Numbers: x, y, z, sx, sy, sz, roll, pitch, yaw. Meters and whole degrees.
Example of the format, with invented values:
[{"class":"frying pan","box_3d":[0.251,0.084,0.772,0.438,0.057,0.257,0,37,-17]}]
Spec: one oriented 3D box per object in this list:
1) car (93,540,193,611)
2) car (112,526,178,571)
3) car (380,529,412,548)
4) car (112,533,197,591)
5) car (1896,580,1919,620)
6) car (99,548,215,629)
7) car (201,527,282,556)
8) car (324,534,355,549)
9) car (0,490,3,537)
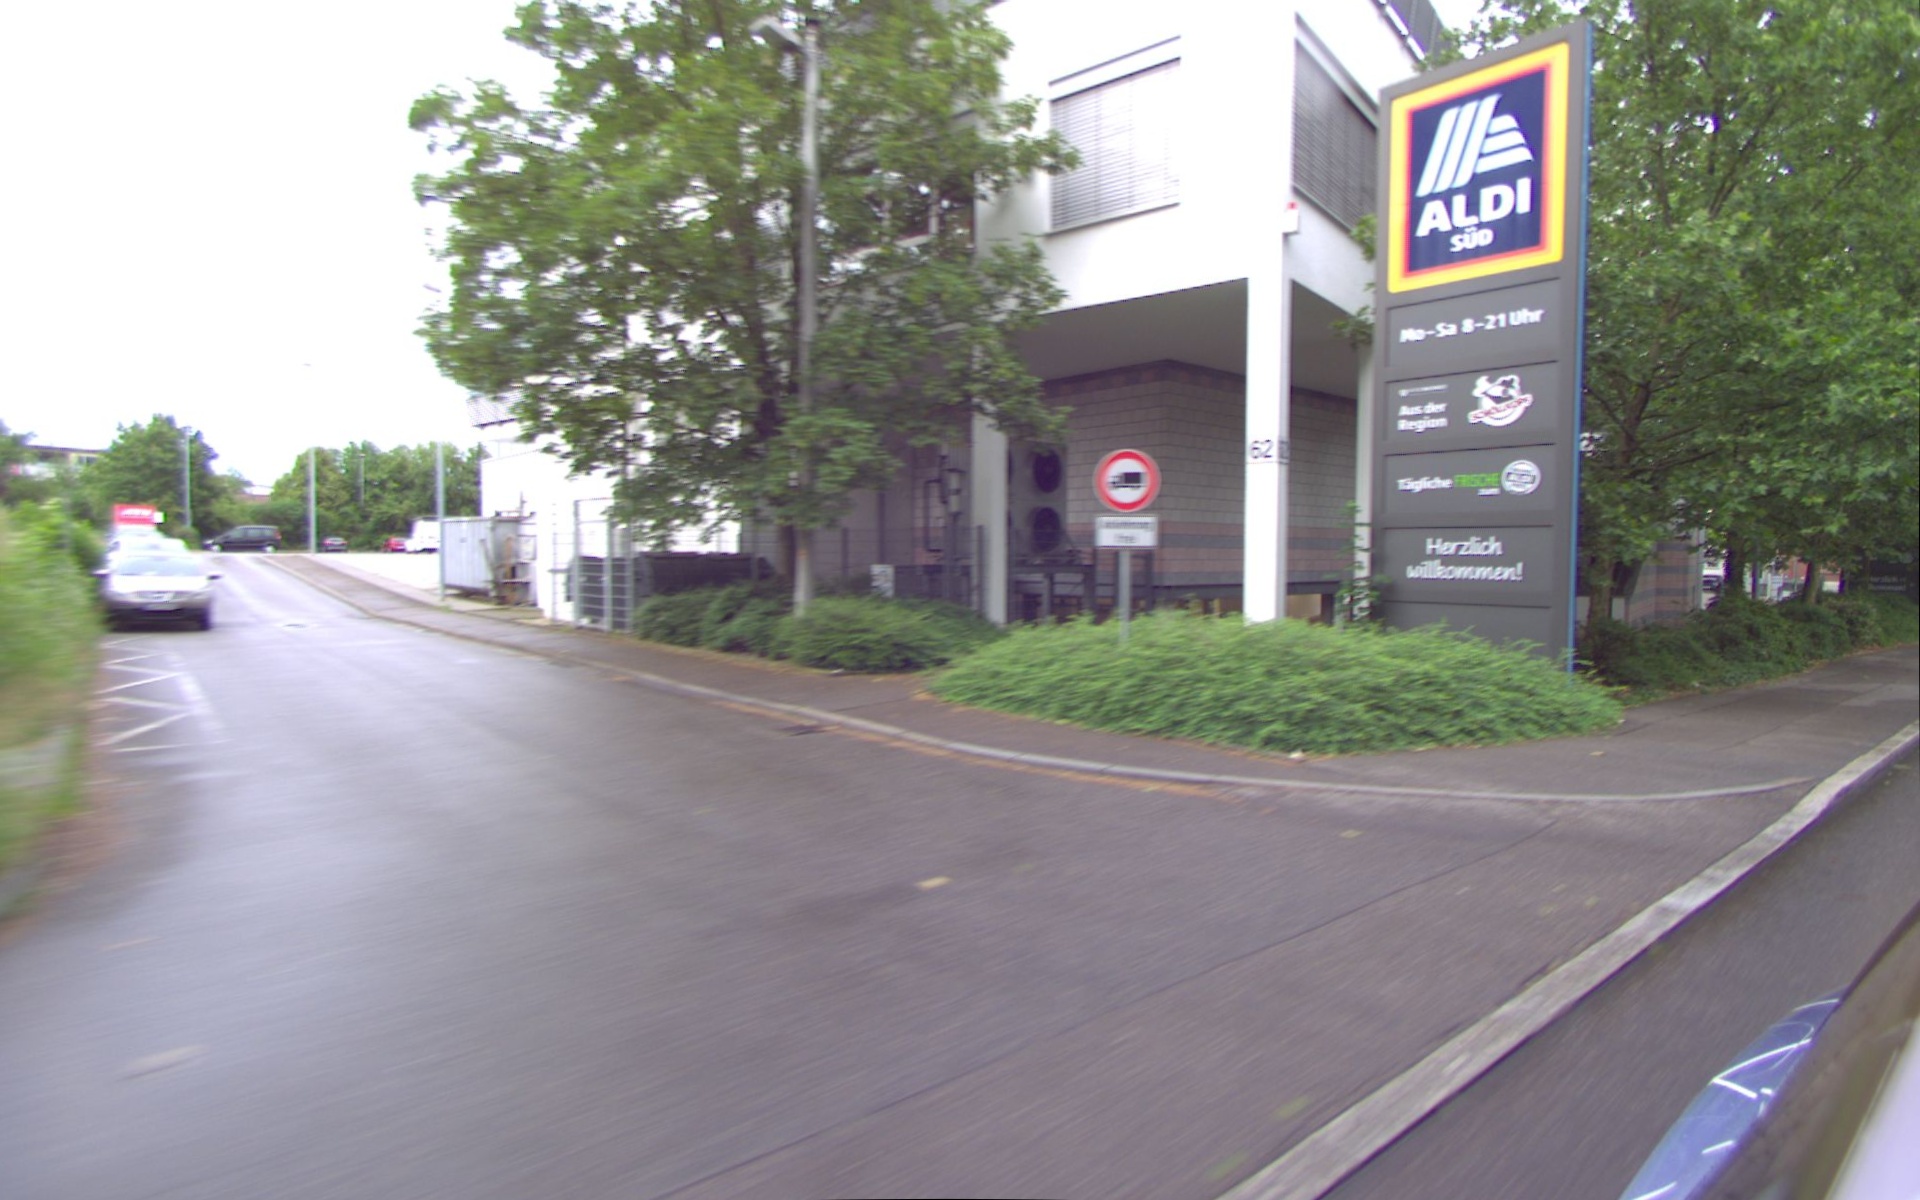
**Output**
[{"class":"car","box_3d":[-20.955,-0.671,25.983,1.855,1.565,4.333,0,4,-39]},{"class":"car","box_3d":[-30.862,-1.934,38.311,1.855,1.566,4.331,0,2,-39]},{"class":"car","box_3d":[-48.653,-5.263,87.275,1.455,1.528,3.615,0,2,-44]},{"class":"car","box_3d":[-23.894,-1.124,30.027,1.855,1.566,4.331,0,2,-39]},{"class":"car","box_3d":[39.974,0.067,40.359,3.850,1.566,1.995,4,4,44]},{"class":"car","box_3d":[-17.203,-0.299,21.678,1.798,1.566,4.331,0,2,-39]},{"class":"car","box_3d":[-46.966,-3.806,66.205,4.233,1.682,1.998,0,2,-39]},{"class":"car","box_3d":[-51.523,-4.823,83.972,1.455,1.135,3.615,0,2,-44]},{"class":"car","box_3d":[-42.774,-3.718,43.834,1.884,1.805,3.990,-3,2,-44]}]
